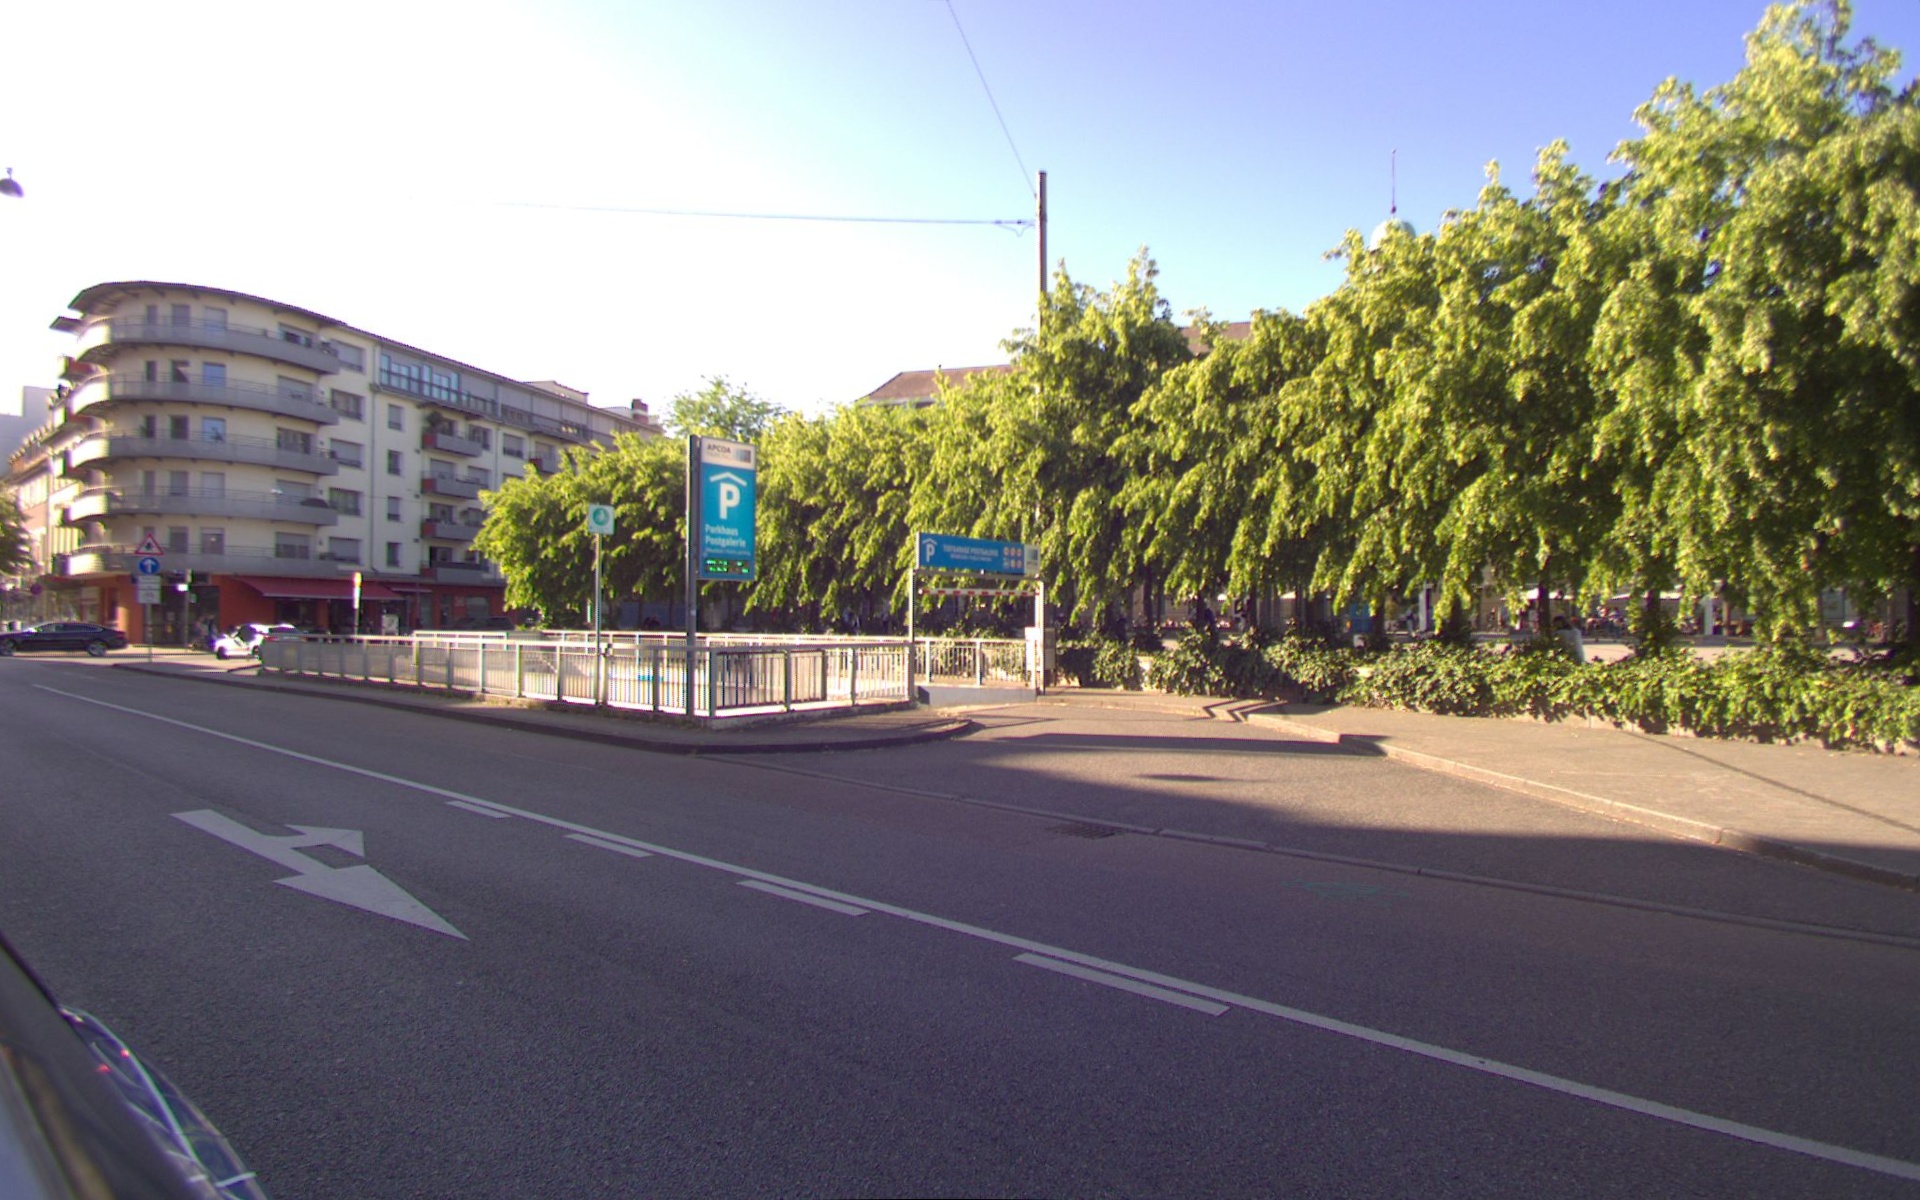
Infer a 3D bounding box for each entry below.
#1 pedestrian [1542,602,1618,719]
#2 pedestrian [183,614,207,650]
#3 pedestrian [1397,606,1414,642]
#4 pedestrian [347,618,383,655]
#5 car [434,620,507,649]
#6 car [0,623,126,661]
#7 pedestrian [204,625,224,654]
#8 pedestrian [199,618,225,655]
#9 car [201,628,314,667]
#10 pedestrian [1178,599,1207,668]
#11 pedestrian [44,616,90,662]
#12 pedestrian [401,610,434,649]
[{"bbox_3d":[9.781,0.926,15.971,0.885,1.771,0.738,0,-1,-39],"label":"pedestrian"},{"bbox_3d":[-36.870,1.550,48.789,0.694,1.719,0.670,-1,-1,20],"label":"pedestrian"},{"bbox_3d":[24.407,1.320,55.502,0.751,1.948,0.938,-1,-1,20],"label":"pedestrian"},{"bbox_3d":[-32.650,1.999,55.522,1.251,2.029,1.226,-1,-1,19],"label":"pedestrian"},{"bbox_3d":[-30.514,2.129,63.196,1.983,1.763,3.977,-1,-1,17],"label":"car"},{"bbox_3d":[-36.396,1.670,40.762,4.225,1.394,2.002,0,-1,-44],"label":"car"},{"bbox_3d":[-37.726,1.986,51.194,0.780,1.472,0.583,0,-1,-40],"label":"pedestrian"},{"bbox_3d":[-36.656,1.776,49.589,0.746,1.819,0.755,-1,-1,-1],"label":"pedestrian"},{"bbox_3d":[-27.862,1.870,40.138,4.226,1.445,1.789,-1,-1,25],"label":"car"},{"bbox_3d":[5.857,0.835,25.501,0.672,1.683,0.843,-1,-1,13],"label":"pedestrian"},{"bbox_3d":[-40.743,1.756,46.187,1.008,2.029,1.198,-1,0,4],"label":"pedestrian"},{"bbox_3d":[-28.787,1.553,53.705,1.298,2.029,1.298,0,-1,-40],"label":"pedestrian"}]
